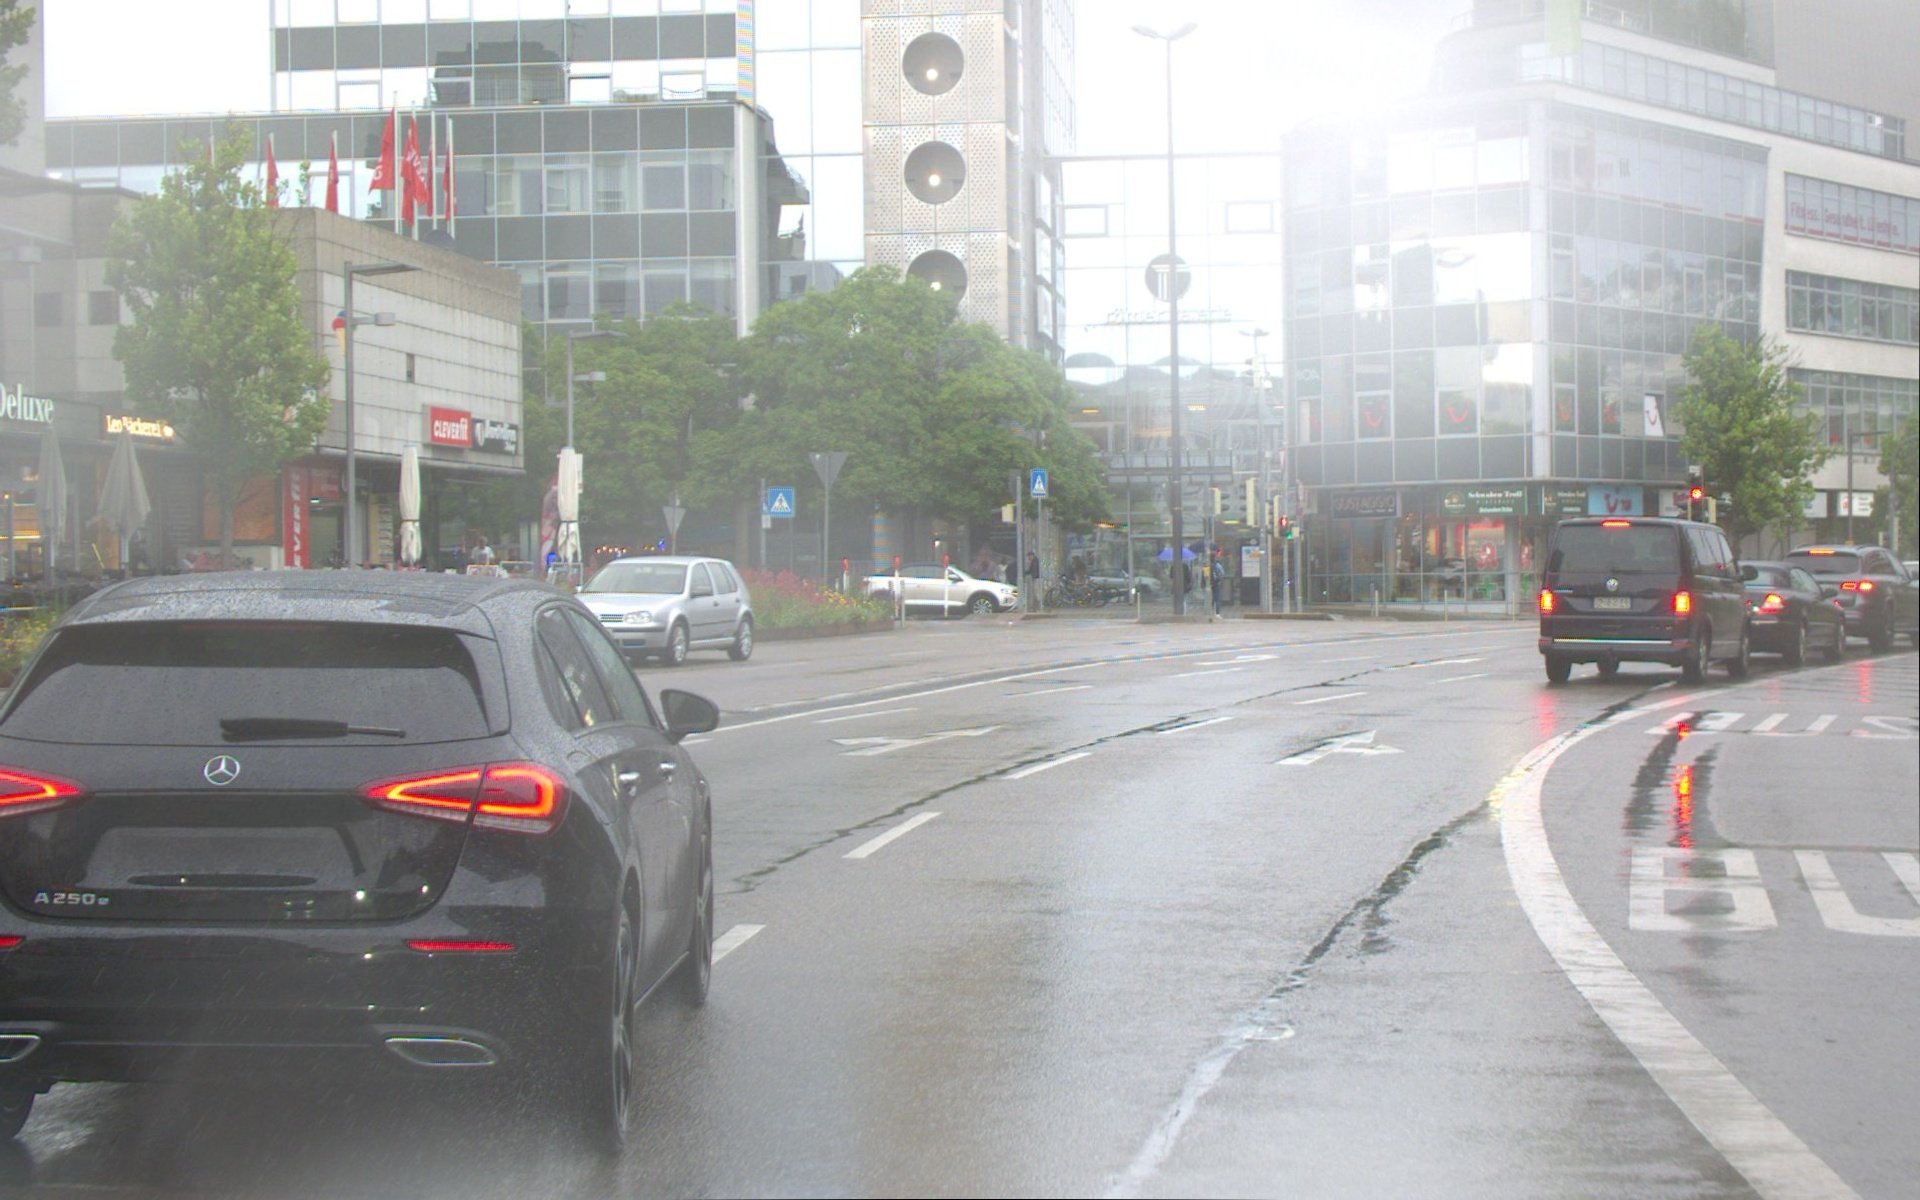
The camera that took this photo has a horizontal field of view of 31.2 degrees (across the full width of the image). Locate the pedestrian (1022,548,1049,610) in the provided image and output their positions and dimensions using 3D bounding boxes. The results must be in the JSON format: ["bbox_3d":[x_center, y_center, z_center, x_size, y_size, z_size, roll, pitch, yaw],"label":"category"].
[{"bbox_3d":[2.474,-0.689,112.411,0.762,2.007,0.714,0,1,-10],"label":"pedestrian"}]

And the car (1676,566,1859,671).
[{"bbox_3d":[11.388,0.228,48.298,1.634,1.381,4.509,1,1,25],"label":"car"}]

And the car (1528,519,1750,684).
[{"bbox_3d":[8.329,-0.002,41.895,1.997,1.887,4.582,1,0,20],"label":"car"}]

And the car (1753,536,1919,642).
[{"bbox_3d":[14.080,-0.198,54.473,1.904,1.615,4.329,1,1,28],"label":"car"}]

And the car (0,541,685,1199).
[{"bbox_3d":[-1.755,0.613,9.680,1.815,1.524,3.813,1,1,-3],"label":"car"}]

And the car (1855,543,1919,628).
[{"bbox_3d":[17.174,-0.234,60.588,1.636,1.443,4.261,1,0,30],"label":"car"}]

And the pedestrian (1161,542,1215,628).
[{"bbox_3d":[5.375,-0.351,81.103,1.162,2.007,1.328,0,1,0],"label":"pedestrian"}]

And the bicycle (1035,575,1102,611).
[{"bbox_3d":[3.740,-0.241,118.701,2.274,1.242,0.676,-1,0,6],"label":"bicycle"}]

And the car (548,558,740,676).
[{"bbox_3d":[-4.154,0.196,45.803,1.700,1.461,4.103,-1,0,7],"label":"car"}]

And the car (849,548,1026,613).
[{"bbox_3d":[-0.564,-0.503,87.820,4.194,1.590,1.869,1,1,13],"label":"car"}]
